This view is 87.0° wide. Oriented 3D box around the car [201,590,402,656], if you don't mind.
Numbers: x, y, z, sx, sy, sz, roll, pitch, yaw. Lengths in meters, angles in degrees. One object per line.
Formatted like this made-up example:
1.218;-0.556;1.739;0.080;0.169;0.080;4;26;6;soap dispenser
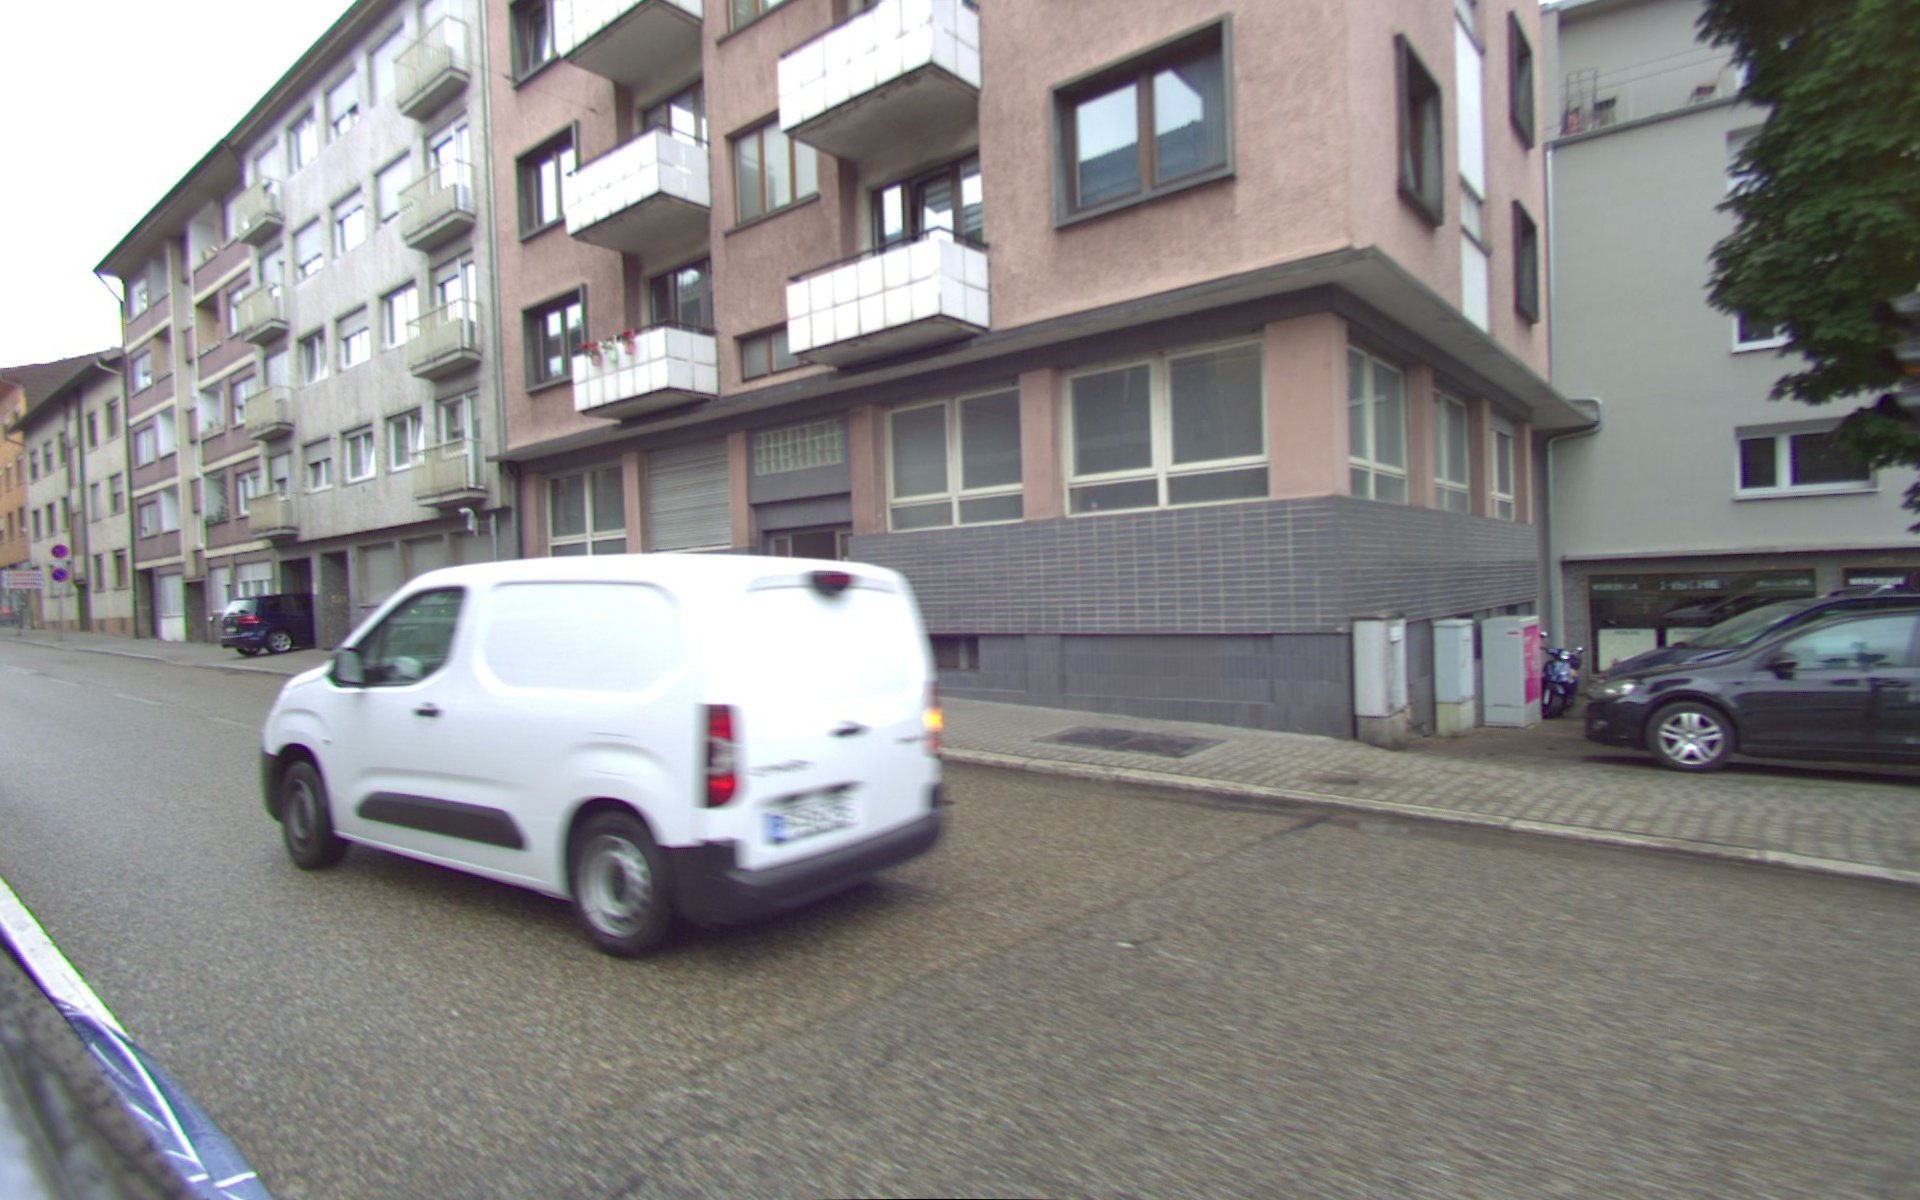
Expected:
-18.217;0.577;28.167;1.996;1.587;4.257;-1;1;36;car

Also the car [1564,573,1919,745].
9.443;0.643;11.286;4.310;1.741;1.763;0;-3;17;car

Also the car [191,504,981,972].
-2.273;0.562;5.720;4.531;1.728;1.792;-1;-2;32;car

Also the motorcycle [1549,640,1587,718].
10.046;1.277;16.706;0.483;1.098;1.509;-1;2;32;motorcycle

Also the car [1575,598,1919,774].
7.736;0.690;8.749;3.994;1.370;1.716;0;-1;38;car

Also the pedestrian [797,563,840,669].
-2.175;0.233;15.615;0.525;1.569;0.449;2;6;14;pedestrian
